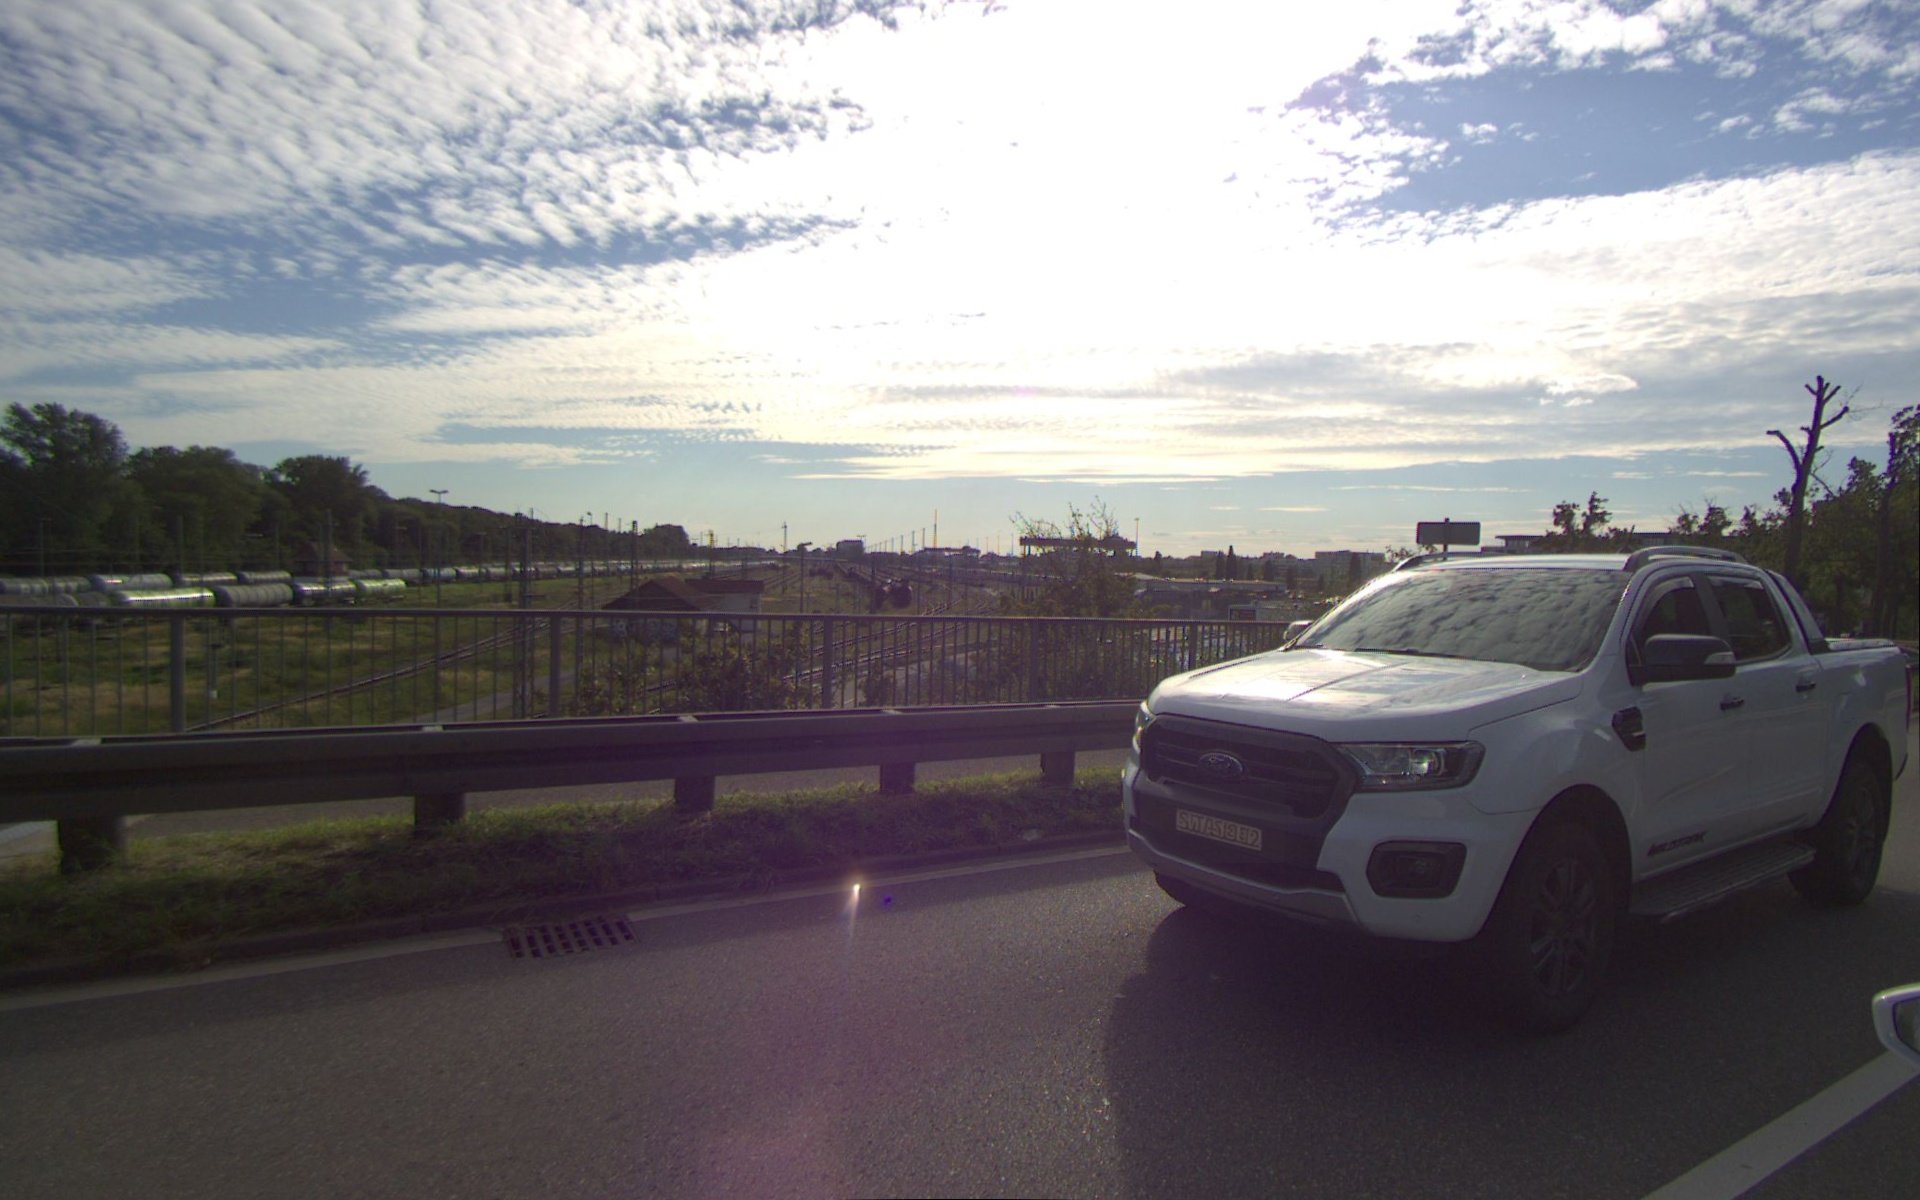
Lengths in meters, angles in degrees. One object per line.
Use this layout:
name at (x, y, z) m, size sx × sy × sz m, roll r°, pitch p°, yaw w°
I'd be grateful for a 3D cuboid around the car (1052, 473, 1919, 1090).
car at (3.167, 0.608, 5.286) m, size 5.348 × 1.834 × 1.889 m, roll 2°, pitch -1°, yaw -34°

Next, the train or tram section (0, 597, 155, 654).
train or tram section at (-83.359, 2.221, 95.164) m, size 3.040 × 4.775 × 16.722 m, roll 2°, pitch 0°, yaw -9°

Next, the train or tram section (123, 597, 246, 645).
train or tram section at (-85.719, 2.103, 111.731) m, size 3.040 × 4.775 × 16.722 m, roll 2°, pitch 0°, yaw -9°

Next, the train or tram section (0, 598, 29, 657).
train or tram section at (-81.275, 2.330, 78.505) m, size 3.039 × 4.775 × 16.731 m, roll 2°, pitch 0°, yaw -6°
